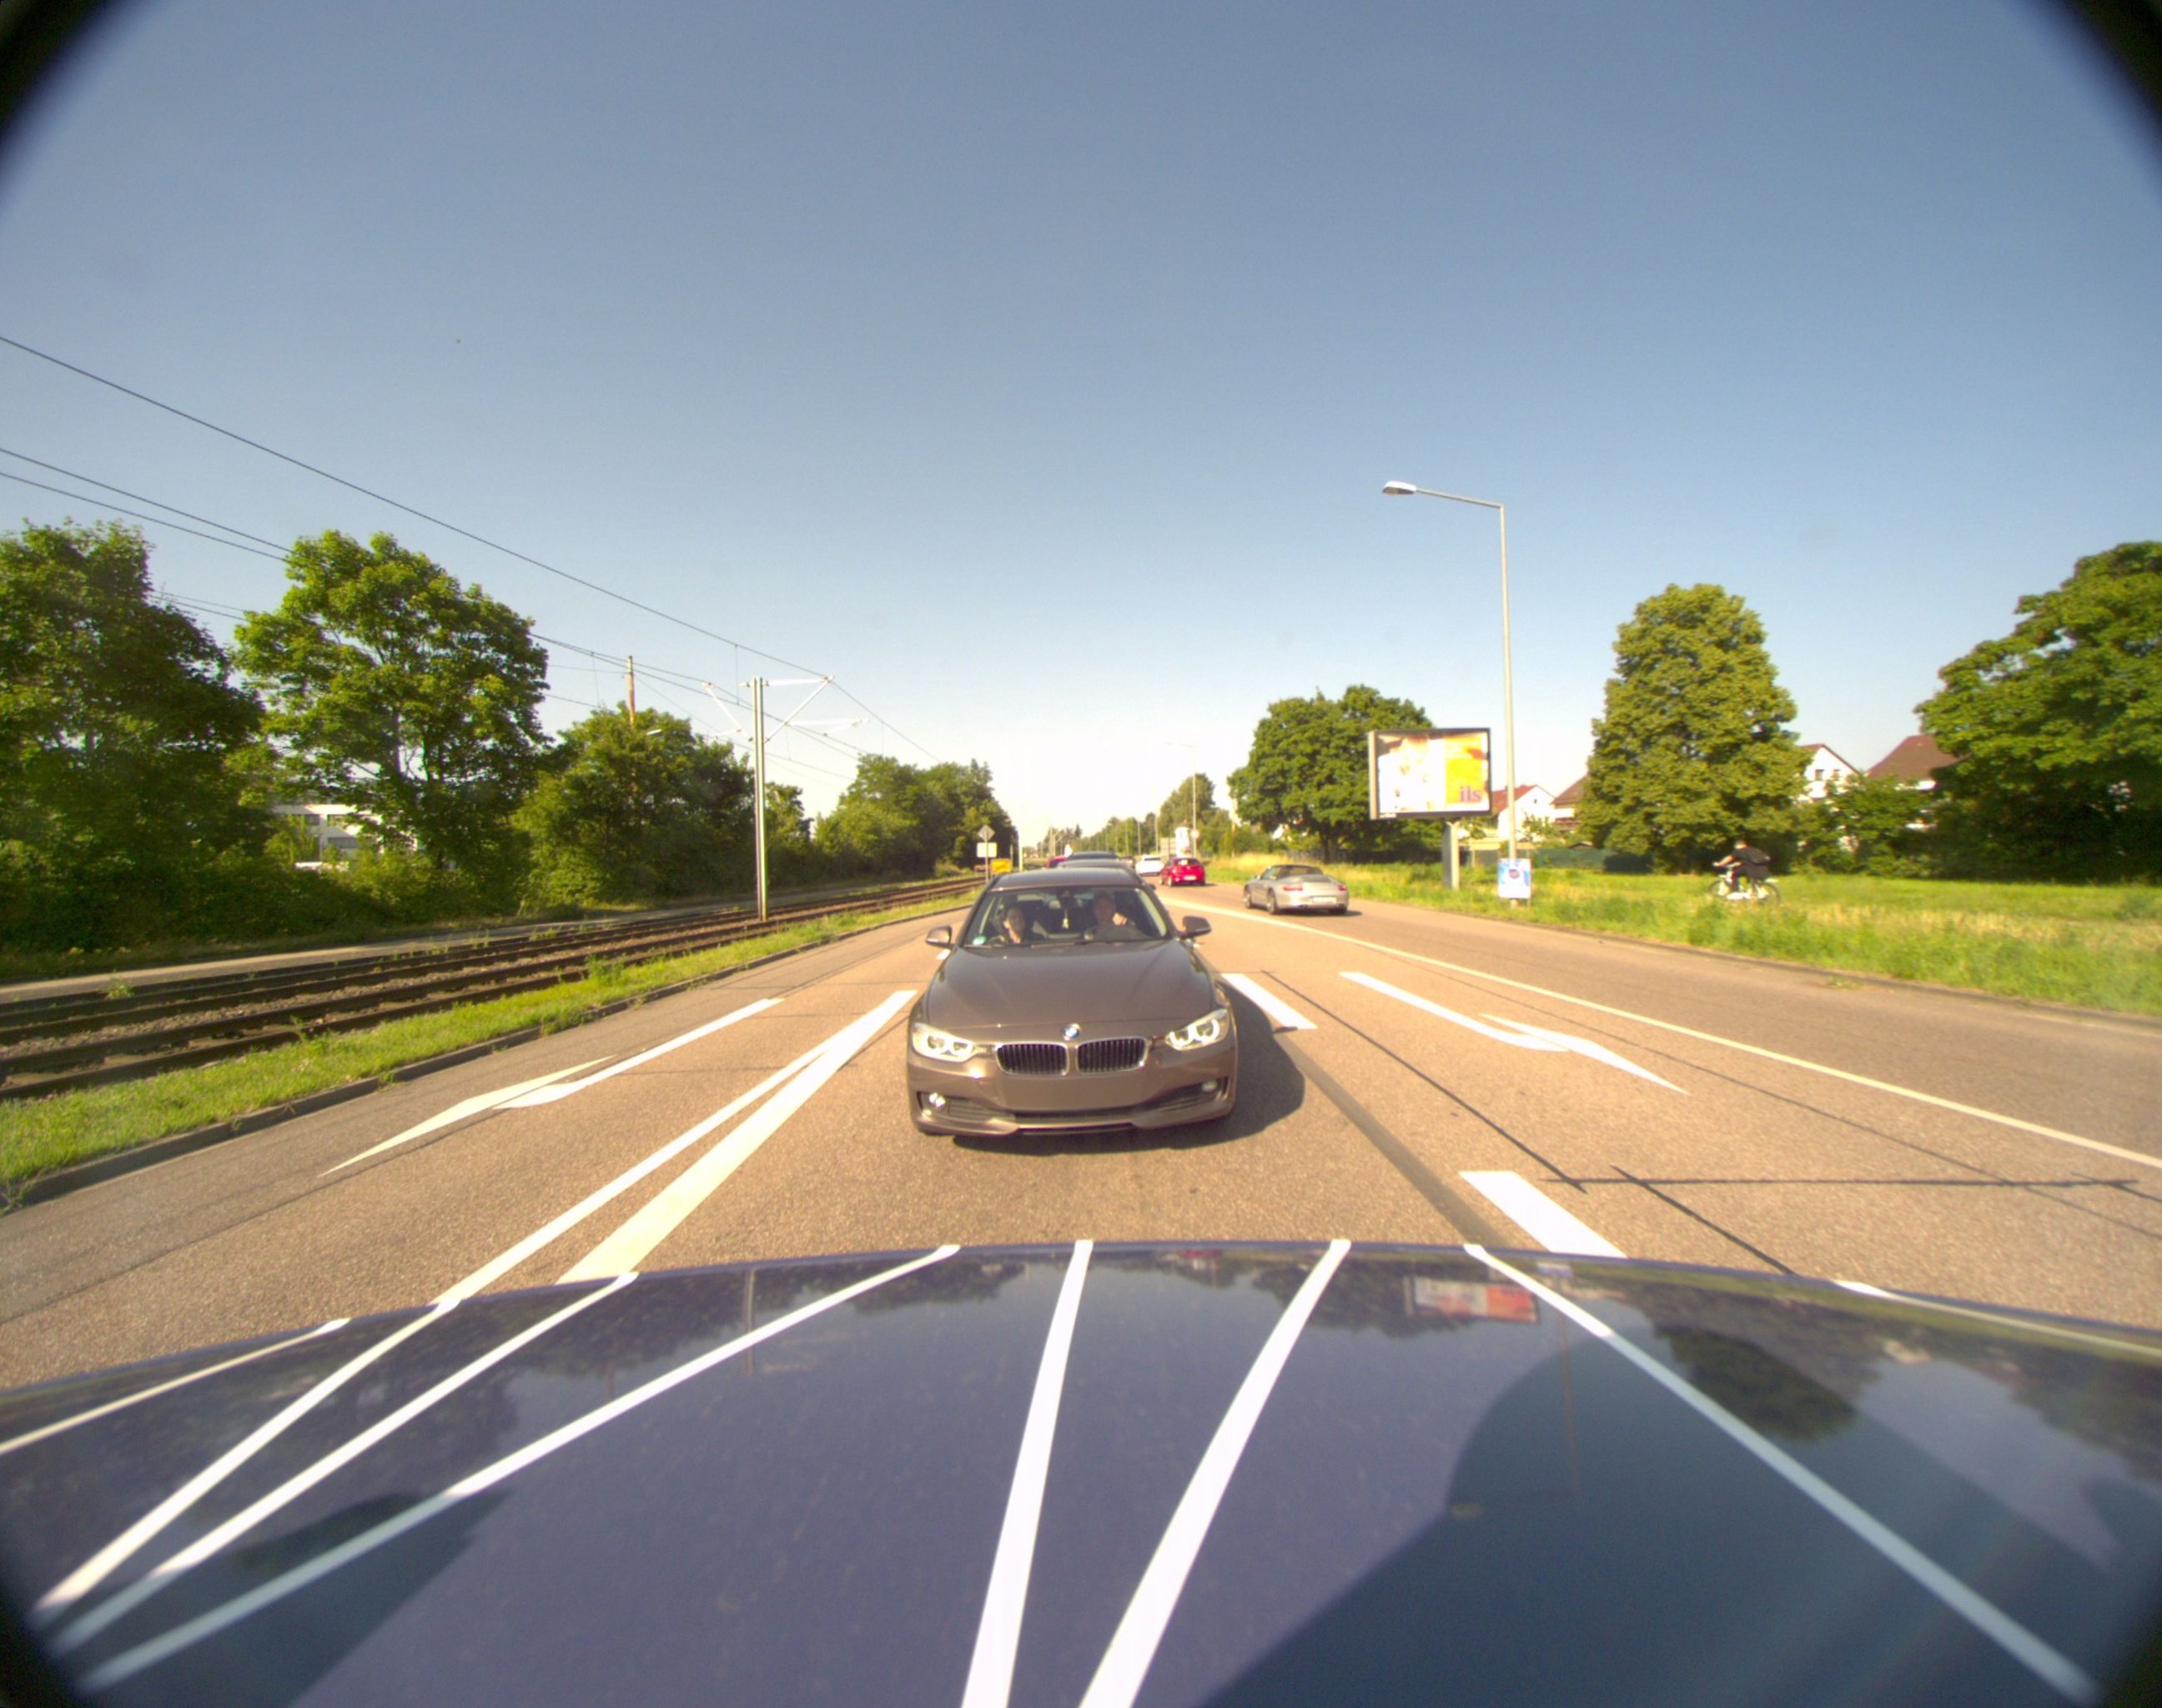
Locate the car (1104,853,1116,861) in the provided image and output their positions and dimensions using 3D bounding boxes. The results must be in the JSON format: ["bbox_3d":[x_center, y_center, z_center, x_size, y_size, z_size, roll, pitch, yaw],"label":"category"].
[{"bbox_3d":[5.240,0.577,139.207,1.784,1.469,4.285,-1,0,-3],"label":"car"}]

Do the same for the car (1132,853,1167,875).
[{"bbox_3d":[4.757,0.644,53.539,1.784,1.469,4.271,-1,0,-4],"label":"car"}]

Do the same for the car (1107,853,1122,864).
[{"bbox_3d":[4.794,0.652,110.597,1.784,1.469,4.285,-1,0,-3],"label":"car"}]

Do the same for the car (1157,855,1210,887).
[{"bbox_3d":[4.988,0.803,37.498,1.784,1.469,3.912,-1,0,-4],"label":"car"}]

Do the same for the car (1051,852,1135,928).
[{"bbox_3d":[0.283,0.802,19.388,1.821,1.641,4.611,-2,0,0],"label":"car"}]

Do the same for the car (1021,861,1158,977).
[{"bbox_3d":[0.135,0.901,12.638,1.821,1.481,4.611,-1,0,0],"label":"car"}]

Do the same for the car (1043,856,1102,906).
[{"bbox_3d":[-0.249,0.861,25.973,1.807,1.498,4.197,-1,0,0],"label":"car"}]

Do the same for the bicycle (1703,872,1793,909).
[{"bbox_3d":[15.332,0.821,17.519,0.455,0.749,1.834,-1,0,0],"label":"bicycle"}]

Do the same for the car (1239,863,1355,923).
[{"bbox_3d":[5.509,0.933,19.983,1.784,1.302,4.286,-1,0,0],"label":"car"}]

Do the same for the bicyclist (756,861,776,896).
[{"bbox_3d":[-16.609,1.306,40.063,0.708,1.797,0.717,-1,1,1],"label":"bicyclist"}]

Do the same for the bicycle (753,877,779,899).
[{"bbox_3d":[-16.589,1.771,40.038,0.547,1.041,1.873,-1,0,0],"label":"bicycle"}]

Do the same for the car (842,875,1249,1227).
[{"bbox_3d":[-0.136,0.975,5.735,1.821,1.416,4.461,-2,0,1],"label":"car"}]

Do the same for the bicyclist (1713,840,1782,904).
[{"bbox_3d":[15.298,0.395,17.474,0.638,1.420,1.071,-1,0,1],"label":"bicyclist"}]

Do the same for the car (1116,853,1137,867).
[{"bbox_3d":[4.937,0.670,83.157,1.784,1.469,4.285,-1,0,-4],"label":"car"}]
